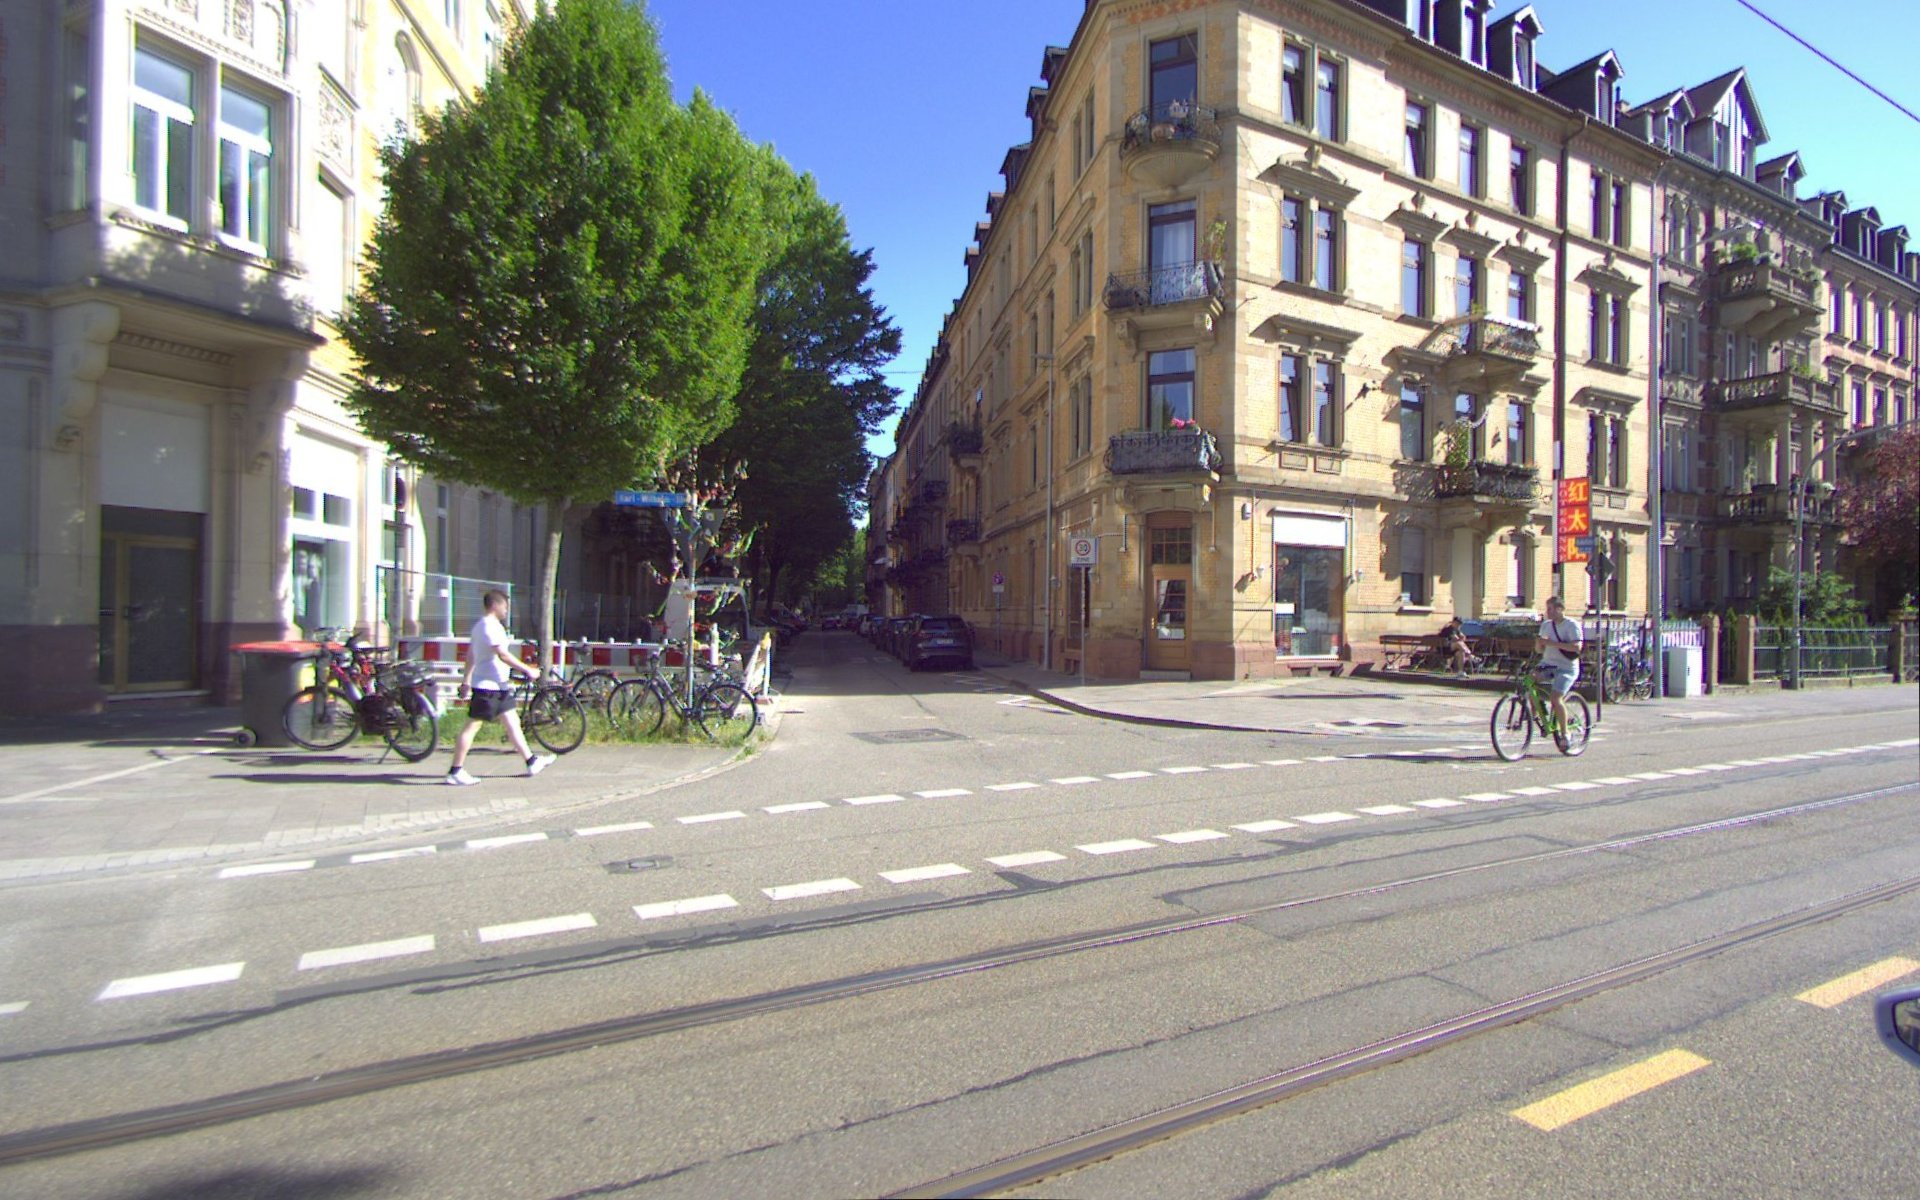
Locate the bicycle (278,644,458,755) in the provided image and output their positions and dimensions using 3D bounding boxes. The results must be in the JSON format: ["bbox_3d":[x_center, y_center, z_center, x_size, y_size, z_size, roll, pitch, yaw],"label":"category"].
[{"bbox_3d":[-5.904,0.956,10.008,1.754,0.926,0.620,2,0,25],"label":"bicycle"}]

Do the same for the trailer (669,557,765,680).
[{"bbox_3d":[-5.774,0.459,24.155,1.794,2.731,2.926,2,-1,-6],"label":"trailer"}]

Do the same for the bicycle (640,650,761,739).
[{"bbox_3d":[-3.111,1.106,12.039,1.270,0.926,0.620,2,0,25],"label":"bicycle"}]

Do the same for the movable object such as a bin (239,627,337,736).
[{"bbox_3d":[-7.096,0.851,10.627,0.704,1.085,0.576,1,1,-17],"label":"movable object such as a bin"}]

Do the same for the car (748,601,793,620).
[{"bbox_3d":[-16.354,0.916,86.621,3.806,1.515,1.578,1,-2,-13],"label":"car"}]

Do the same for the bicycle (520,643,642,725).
[{"bbox_3d":[-4.778,1.048,12.705,1.268,0.926,0.621,3,0,8],"label":"bicycle"}]

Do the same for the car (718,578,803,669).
[{"bbox_3d":[-6.216,0.640,31.836,1.962,2.536,4.632,4,1,-5],"label":"car"}]

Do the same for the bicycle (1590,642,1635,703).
[{"bbox_3d":[12.548,1.385,19.314,0.799,1.141,0.369,1,2,-30],"label":"bicycle"}]

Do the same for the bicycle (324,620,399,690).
[{"bbox_3d":[-9.922,0.887,16.705,0.398,1.051,1.602,0,1,-5],"label":"bicycle"}]

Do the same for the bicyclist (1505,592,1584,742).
[{"bbox_3d":[6.636,0.744,11.401,0.735,1.640,0.462,1,-2,-30],"label":"bicyclist"}]

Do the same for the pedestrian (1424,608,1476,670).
[{"bbox_3d":[11.011,0.876,22.575,0.570,1.370,0.897,1,-2,-28],"label":"pedestrian"}]

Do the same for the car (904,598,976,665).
[{"bbox_3d":[-0.682,0.903,30.703,1.805,1.773,3.586,-1,2,-7],"label":"car"}]

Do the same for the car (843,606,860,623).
[{"bbox_3d":[-12.580,1.611,116.074,1.805,1.773,3.585,-1,2,-8],"label":"car"}]

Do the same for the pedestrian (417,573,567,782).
[{"bbox_3d":[-4.241,0.664,9.093,1.071,1.746,0.824,2,1,-33],"label":"pedestrian"}]

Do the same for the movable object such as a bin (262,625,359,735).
[{"bbox_3d":[-6.816,0.831,10.571,0.704,1.085,0.576,1,1,-17],"label":"movable object such as a bin"}]

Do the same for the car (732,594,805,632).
[{"bbox_3d":[-14.429,1.024,75.983,5.290,2.736,1.579,1,-2,-10],"label":"car"}]

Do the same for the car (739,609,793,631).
[{"bbox_3d":[-14.146,1.490,73.099,3.806,1.515,1.578,1,-2,-13],"label":"car"}]

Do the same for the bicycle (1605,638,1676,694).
[{"bbox_3d":[13.116,1.257,19.339,1.848,1.014,0.333,1,2,-30],"label":"bicycle"}]

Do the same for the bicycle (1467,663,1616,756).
[{"bbox_3d":[6.612,1.204,11.382,2.177,0.938,0.458,1,-1,-30],"label":"bicycle"}]

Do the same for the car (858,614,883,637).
[{"bbox_3d":[-6.403,1.818,71.488,1.631,1.513,3.997,2,-2,-6],"label":"car"}]

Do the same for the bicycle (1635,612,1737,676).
[{"bbox_3d":[16.653,0.977,23.072,0.608,1.338,1.748,1,2,-39],"label":"bicycle"}]

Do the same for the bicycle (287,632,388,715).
[{"bbox_3d":[-7.853,0.910,12.653,1.513,0.926,0.246,2,0,25],"label":"bicycle"}]

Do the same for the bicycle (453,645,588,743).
[{"bbox_3d":[-4.749,0.986,10.854,1.270,0.926,0.620,2,0,25],"label":"bicycle"}]

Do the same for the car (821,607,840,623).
[{"bbox_3d":[-14.726,1.683,113.717,1.930,1.674,3.992,2,1,-10],"label":"car"}]

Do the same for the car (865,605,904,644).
[{"bbox_3d":[-3.567,1.166,47.125,1.570,1.750,3.532,0,-1,-8],"label":"car"}]

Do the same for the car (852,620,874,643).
[{"bbox_3d":[-8.755,2.801,90.419,1.805,1.773,3.586,-1,2,-7],"label":"car"}]

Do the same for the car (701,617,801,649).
[{"bbox_3d":[-8.693,1.371,41.723,3.934,1.228,1.577,2,-2,-15],"label":"car"}]

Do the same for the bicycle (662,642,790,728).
[{"bbox_3d":[-3.137,1.114,13.669,0.569,0.989,1.986,2,0,25],"label":"bicycle"}]

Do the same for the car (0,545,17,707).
[{"bbox_3d":[-9.859,0.299,8.191,1.941,1.665,4.429,2,1,-27],"label":"car"}]

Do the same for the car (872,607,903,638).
[{"bbox_3d":[-4.316,1.333,59.360,1.570,1.750,3.532,0,-1,-8],"label":"car"}]

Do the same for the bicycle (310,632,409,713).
[{"bbox_3d":[-7.725,0.919,12.902,1.513,0.926,0.246,2,0,25],"label":"bicycle"}]

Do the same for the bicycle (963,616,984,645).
[{"bbox_3d":[0.569,1.262,42.430,0.545,1.141,2.130,2,0,-8],"label":"bicycle"}]
